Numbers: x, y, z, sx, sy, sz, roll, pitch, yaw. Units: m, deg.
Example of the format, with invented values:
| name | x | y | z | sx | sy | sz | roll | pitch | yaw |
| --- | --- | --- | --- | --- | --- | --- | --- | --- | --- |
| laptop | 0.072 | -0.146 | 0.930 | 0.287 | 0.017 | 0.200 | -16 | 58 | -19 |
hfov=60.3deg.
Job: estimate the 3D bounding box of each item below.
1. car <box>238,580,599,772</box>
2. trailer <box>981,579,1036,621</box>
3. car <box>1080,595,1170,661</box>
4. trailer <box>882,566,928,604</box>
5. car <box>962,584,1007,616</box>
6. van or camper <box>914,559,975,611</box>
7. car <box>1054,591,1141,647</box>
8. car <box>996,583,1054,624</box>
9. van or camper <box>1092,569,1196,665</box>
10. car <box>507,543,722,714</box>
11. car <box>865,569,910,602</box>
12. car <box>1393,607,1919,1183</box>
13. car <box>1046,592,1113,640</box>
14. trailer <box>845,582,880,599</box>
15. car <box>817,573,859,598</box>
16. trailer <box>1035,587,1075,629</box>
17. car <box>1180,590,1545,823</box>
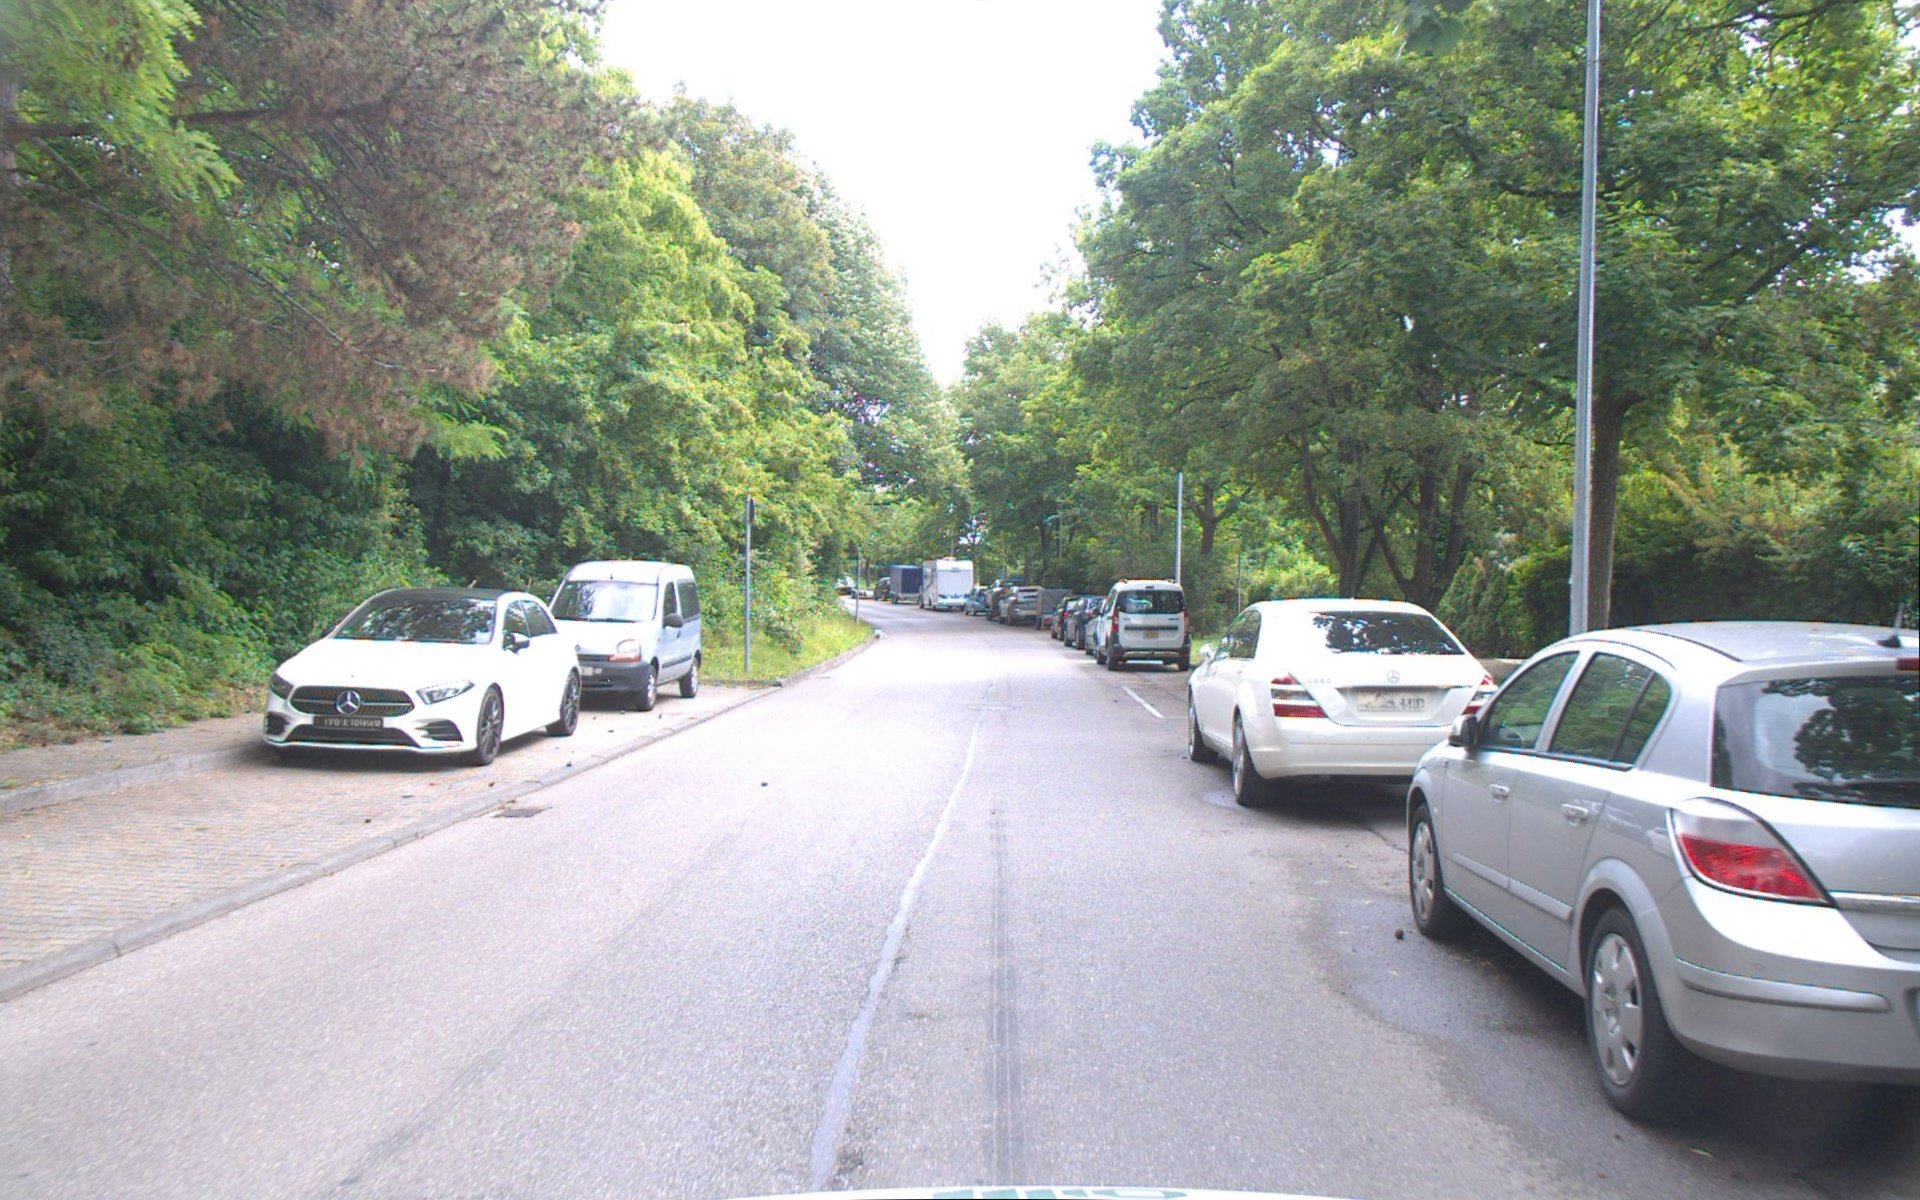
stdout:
| name | x | y | z | sx | sy | sz | roll | pitch | yaw |
| --- | --- | --- | --- | --- | --- | --- | --- | --- | --- |
| car | -4.704 | 0.573 | 15.107 | 1.768 | 1.427 | 4.372 | 2 | 1 | 1 |
| trailer | 2.233 | -0.027 | 77.584 | 1.941 | 1.843 | 5.142 | 0 | 1 | -6 |
| car | 4.029 | 0.661 | 40.903 | 1.776 | 1.462 | 4.242 | 2 | 0 | 0 |
| trailer | -3.590 | -0.990 | 107.624 | 1.963 | 2.440 | 3.979 | 0 | 1 | -18 |
| car | 1.242 | -0.028 | 86.898 | 1.766 | 1.589 | 3.828 | 0 | 1 | -9 |
| van or camper | -0.969 | -0.907 | 97.112 | 2.437 | 2.926 | 6.872 | 1 | 1 | -11 |
| car | 3.868 | 0.511 | 47.163 | 1.811 | 1.500 | 4.475 | 1 | 0 | -4 |
| car | 2.750 | 0.185 | 71.079 | 1.758 | 1.699 | 4.494 | 0 | -1 | -8 |
| van or camper | 3.838 | 0.379 | 35.153 | 1.765 | 1.870 | 4.320 | 1 | -1 | 1 |
| car | -4.408 | 0.302 | 21.710 | 1.685 | 1.954 | 4.106 | 3 | 1 | 3 |
| car | -4.974 | -1.022 | 112.942 | 1.964 | 2.060 | 3.979 | -3 | 3 | -19 |
| car | 2.961 | 0.764 | 6.232 | 1.755 | 1.435 | 4.060 | 0 | 0 | 3 |
| car | 3.882 | 0.505 | 54.251 | 1.686 | 1.478 | 3.915 | 1 | 0 | -3 |
| trailer | -6.917 | -0.669 | 116.612 | 1.625 | 1.105 | 3.983 | -2 | 2 | -16 |
| car | -9.296 | -1.146 | 125.589 | 2.008 | 1.835 | 4.053 | 0 | 1 | -24 |
| trailer | 3.724 | 0.294 | 65.029 | 1.253 | 1.612 | 2.459 | 1 | 0 | -3 |
| car | 3.043 | 0.698 | 13.677 | 1.847 | 1.533 | 5.177 | 1 | 0 | 1 |
